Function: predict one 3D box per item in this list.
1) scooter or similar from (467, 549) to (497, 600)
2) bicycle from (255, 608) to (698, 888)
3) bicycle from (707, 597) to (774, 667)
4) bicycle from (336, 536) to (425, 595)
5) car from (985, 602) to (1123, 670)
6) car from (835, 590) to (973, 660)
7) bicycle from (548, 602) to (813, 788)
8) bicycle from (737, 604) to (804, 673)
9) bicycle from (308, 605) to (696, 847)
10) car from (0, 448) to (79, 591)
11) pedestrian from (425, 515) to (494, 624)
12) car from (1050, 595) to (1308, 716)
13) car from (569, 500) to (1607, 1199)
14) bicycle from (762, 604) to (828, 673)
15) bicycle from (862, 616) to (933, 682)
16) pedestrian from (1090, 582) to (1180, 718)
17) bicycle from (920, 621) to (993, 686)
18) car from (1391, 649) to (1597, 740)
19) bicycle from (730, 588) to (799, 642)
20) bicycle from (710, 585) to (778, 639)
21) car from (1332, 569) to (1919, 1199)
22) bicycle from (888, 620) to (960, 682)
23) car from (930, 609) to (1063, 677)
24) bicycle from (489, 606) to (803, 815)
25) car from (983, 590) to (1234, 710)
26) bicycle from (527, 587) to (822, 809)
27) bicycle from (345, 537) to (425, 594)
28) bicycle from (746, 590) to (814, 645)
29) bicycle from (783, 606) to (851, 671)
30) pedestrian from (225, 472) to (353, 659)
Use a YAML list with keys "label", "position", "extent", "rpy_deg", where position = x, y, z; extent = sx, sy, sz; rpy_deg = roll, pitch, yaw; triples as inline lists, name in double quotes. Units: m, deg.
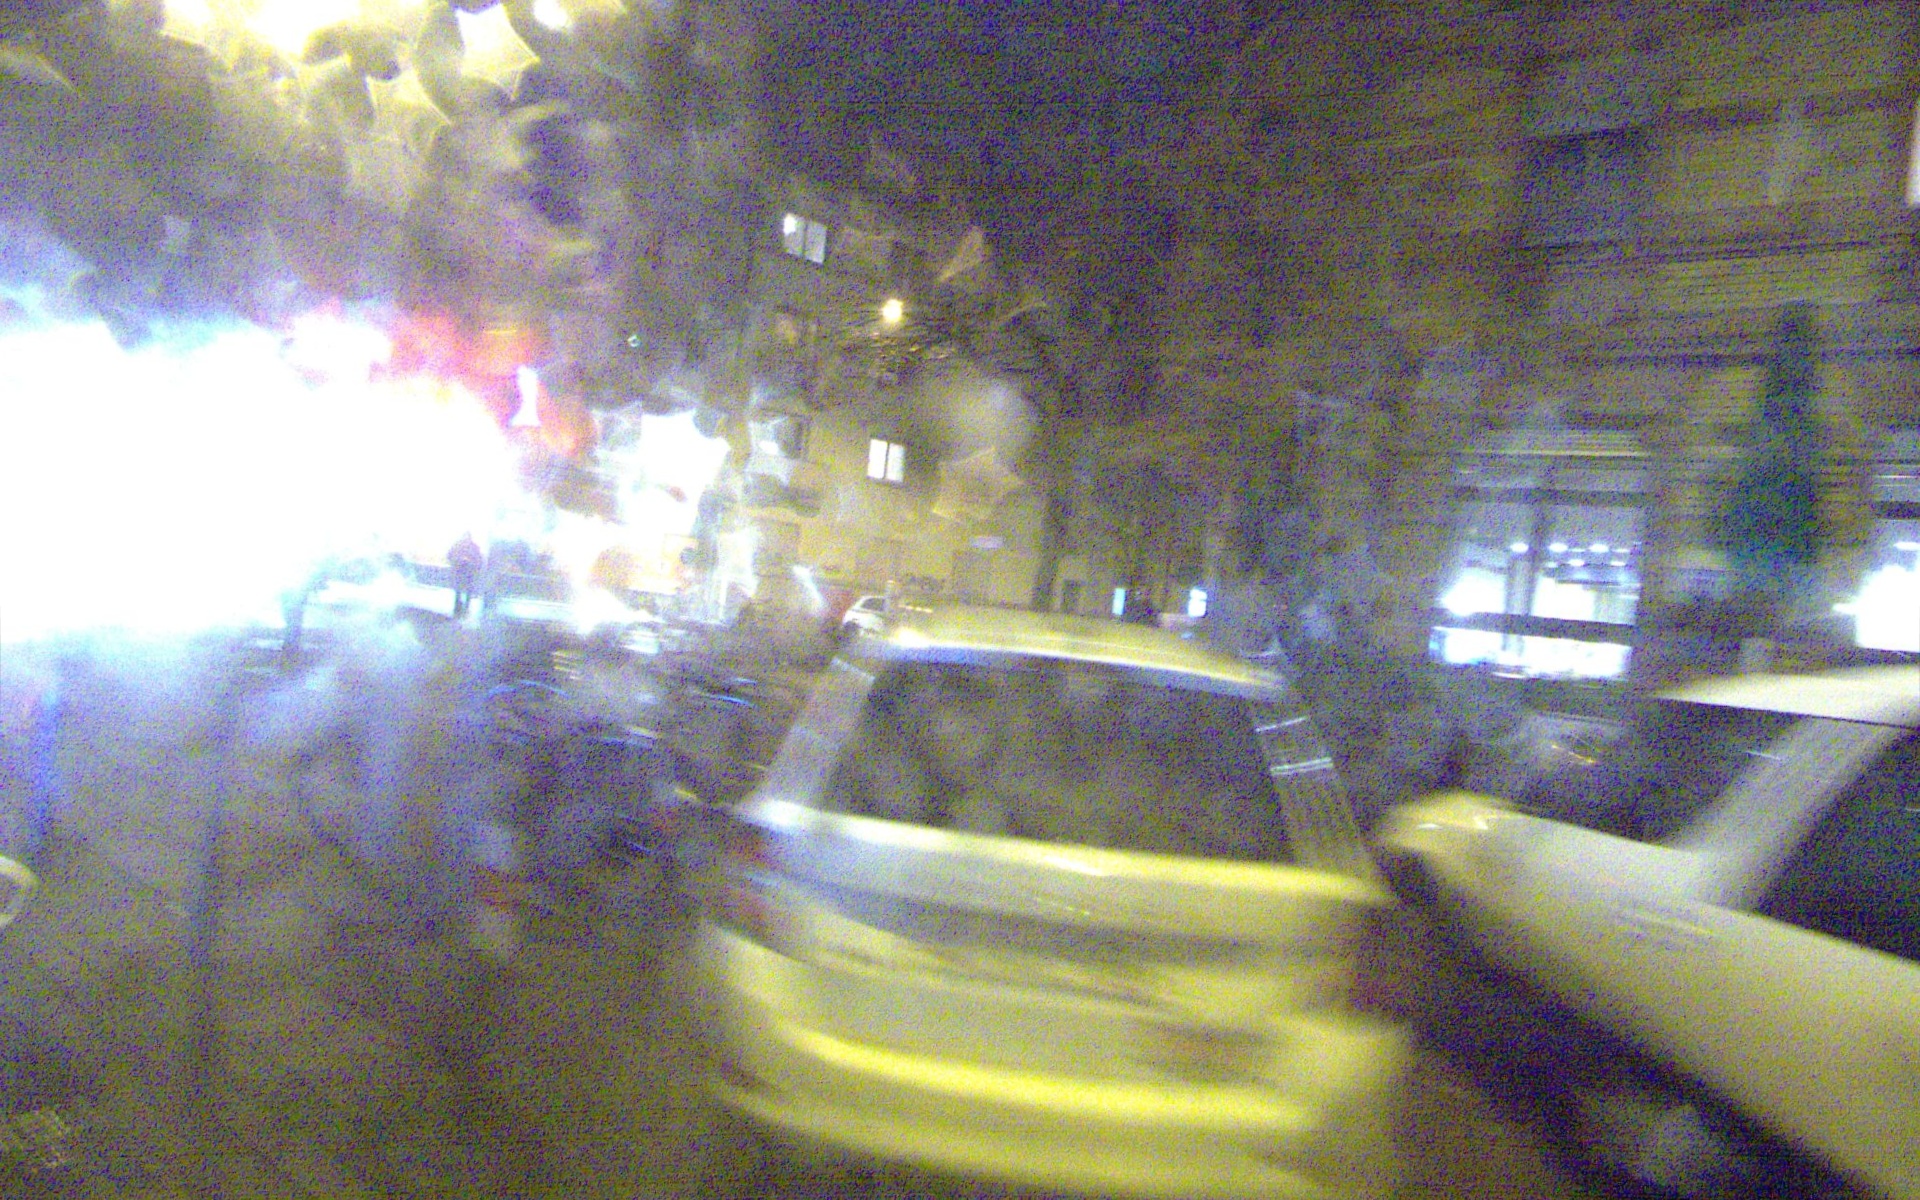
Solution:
- label: "scooter or similar"
  position: [-12.732, -0.701, 26.788]
  extent: [0.521, 1.244, 1.303]
  rpy_deg: [8, 0, -28]
- label: "bicycle"
  position: [-2.034, 0.654, 4.395]
  extent: [1.620, 1.039, 0.335]
  rpy_deg: [7, 2, -15]
- label: "bicycle"
  position: [-3.844, 0.533, 17.516]
  extent: [0.450, 1.021, 1.794]
  rpy_deg: [7, 1, -33]
- label: "bicycle"
  position: [-14.158, -0.836, 24.627]
  extent: [1.767, 1.188, 0.381]
  rpy_deg: [7, 0, -30]
- label: "car"
  position: [3.081, 1.176, 33.153]
  extent: [4.039, 1.681, 1.755]
  rpy_deg: [6, -2, 31]
- label: "car"
  position: [-1.704, 0.733, 30.229]
  extent: [3.631, 1.595, 1.755]
  rpy_deg: [6, -2, 31]
- label: "bicycle"
  position: [-1.850, 0.613, 6.698]
  extent: [1.615, 1.040, 0.336]
  rpy_deg: [6, 2, 6]
- label: "bicycle"
  position: [-3.363, 0.657, 17.739]
  extent: [0.399, 1.021, 1.794]
  rpy_deg: [7, 1, -33]
- label: "bicycle"
  position: [-2.160, 0.617, 4.880]
  extent: [1.619, 1.040, 0.335]
  rpy_deg: [5, 2, -13]
- label: "car"
  position: [-15.509, -1.399, 15.739]
  extent: [4.763, 1.945, 2.118]
  rpy_deg: [6, -1, 45]
- label: "pedestrian"
  position: [-9.168, -0.554, 18.466]
  extent: [0.867, 1.856, 0.979]
  rpy_deg: [6, 0, -22]
- label: "car"
  position: [4.600, 1.121, 22.127]
  extent: [1.982, 1.912, 5.496]
  rpy_deg: [8, -1, -35]
- label: "car"
  position: [0.320, 0.689, 3.953]
  extent: [1.738, 1.594, 4.261]
  rpy_deg: [6, 1, 4]
- label: "bicycle"
  position: [-2.961, 0.663, 17.965]
  extent: [0.376, 1.021, 1.794]
  rpy_deg: [7, 1, -33]
- label: "bicycle"
  position: [-1.203, 0.896, 18.889]
  extent: [0.399, 1.021, 1.794]
  rpy_deg: [7, 1, -33]
- label: "pedestrian"
  position: [2.499, 0.711, 14.419]
  extent: [0.783, 1.839, 0.803]
  rpy_deg: [5, 0, -33]
- label: "bicycle"
  position: [-0.091, 0.992, 19.145]
  extent: [0.399, 1.021, 1.761]
  rpy_deg: [7, 1, -33]
- label: "car"
  position: [14.482, 2.532, 27.514]
  extent: [1.982, 1.783, 4.421]
  rpy_deg: [8, -1, -35]
- label: "bicycle"
  position: [-5.014, 0.410, 25.930]
  extent: [0.444, 1.190, 1.964]
  rpy_deg: [6, -2, 29]
- label: "bicycle"
  position: [-5.611, 0.344, 26.241]
  extent: [0.444, 1.190, 1.964]
  rpy_deg: [6, -2, 29]
- label: "car"
  position: [2.633, 0.889, 2.497]
  extent: [1.739, 1.735, 3.736]
  rpy_deg: [6, 1, -2]
- label: "bicycle"
  position: [-0.706, 0.954, 19.161]
  extent: [0.400, 1.020, 1.795]
  rpy_deg: [8, -2, -33]
- label: "car"
  position: [1.129, 1.329, 31.429]
  extent: [3.631, 1.595, 1.755]
  rpy_deg: [6, -2, 31]
- label: "bicycle"
  position: [-1.752, 0.608, 5.673]
  extent: [1.615, 1.039, 0.336]
  rpy_deg: [3, 0, 2]
- label: "car"
  position: [2.828, 0.925, 20.453]
  extent: [1.982, 1.783, 5.049]
  rpy_deg: [8, -1, -35]
- label: "bicycle"
  position: [-1.733, 0.576, 6.145]
  extent: [1.615, 1.106, 0.336]
  rpy_deg: [7, 2, 6]
- label: "bicycle"
  position: [-14.593, -0.861, 25.557]
  extent: [1.630, 1.187, 0.381]
  rpy_deg: [9, -3, -30]
- label: "bicycle"
  position: [-4.569, 0.460, 25.709]
  extent: [0.444, 1.190, 1.964]
  rpy_deg: [6, -2, 29]
- label: "bicycle"
  position: [-2.614, 0.679, 18.249]
  extent: [0.400, 1.020, 1.795]
  rpy_deg: [8, -2, -33]
- label: "pedestrian"
  position: [-6.935, -0.346, 10.404]
  extent: [0.592, 1.792, 0.825]
  rpy_deg: [7, -1, 44]
